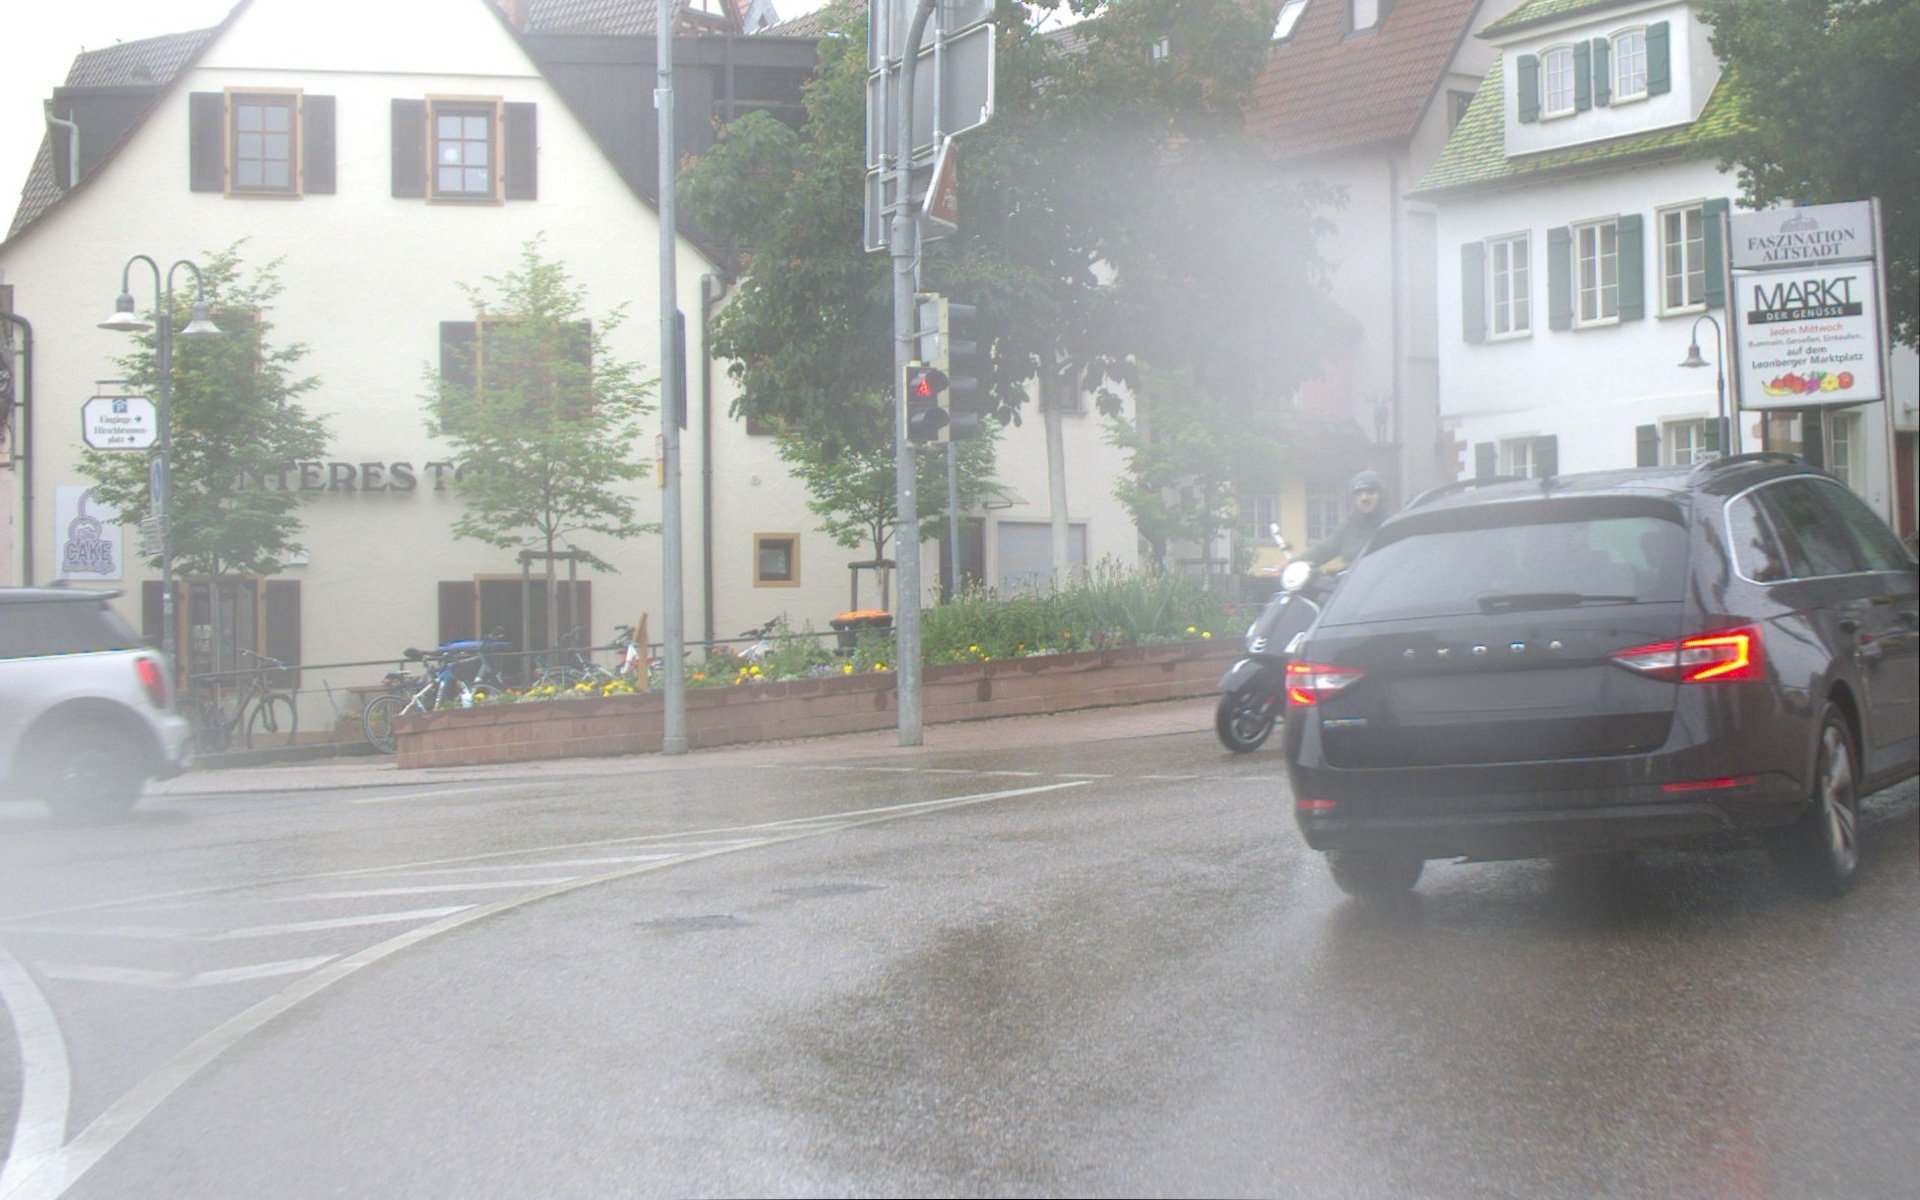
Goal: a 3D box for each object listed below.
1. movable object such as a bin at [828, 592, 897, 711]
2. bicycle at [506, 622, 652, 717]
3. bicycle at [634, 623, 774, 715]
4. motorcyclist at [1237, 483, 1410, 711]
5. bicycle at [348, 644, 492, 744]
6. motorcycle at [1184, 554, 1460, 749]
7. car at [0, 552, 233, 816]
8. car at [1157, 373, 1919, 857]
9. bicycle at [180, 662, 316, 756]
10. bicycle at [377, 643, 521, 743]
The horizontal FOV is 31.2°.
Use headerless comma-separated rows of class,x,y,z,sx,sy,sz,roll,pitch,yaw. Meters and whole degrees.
movable object such as a bin,-1.062,0.552,37.298,0.683,1.272,0.748,0,0,-7
bicycle,-3.924,0.712,35.458,1.465,0.909,0.392,-2,2,-33
bicycle,-2.703,0.725,36.385,1.465,0.909,0.392,-2,2,-33
motorcyclist,2.198,-0.020,20.797,0.810,1.349,0.667,0,0,37
bicycle,-5.398,0.932,34.427,0.392,0.909,1.466,2,3,44
motorcycle,2.219,0.317,20.868,0.770,1.127,1.912,-2,-2,37
car,-6.432,0.560,20.362,3.986,1.426,2.001,-4,1,-15
car,2.505,-0.028,12.733,1.889,1.443,4.351,-3,1,27
bicycle,-6.850,1.038,33.111,0.338,0.816,1.434,2,3,36
bicycle,-5.061,0.917,34.130,0.392,0.909,1.466,2,3,44
